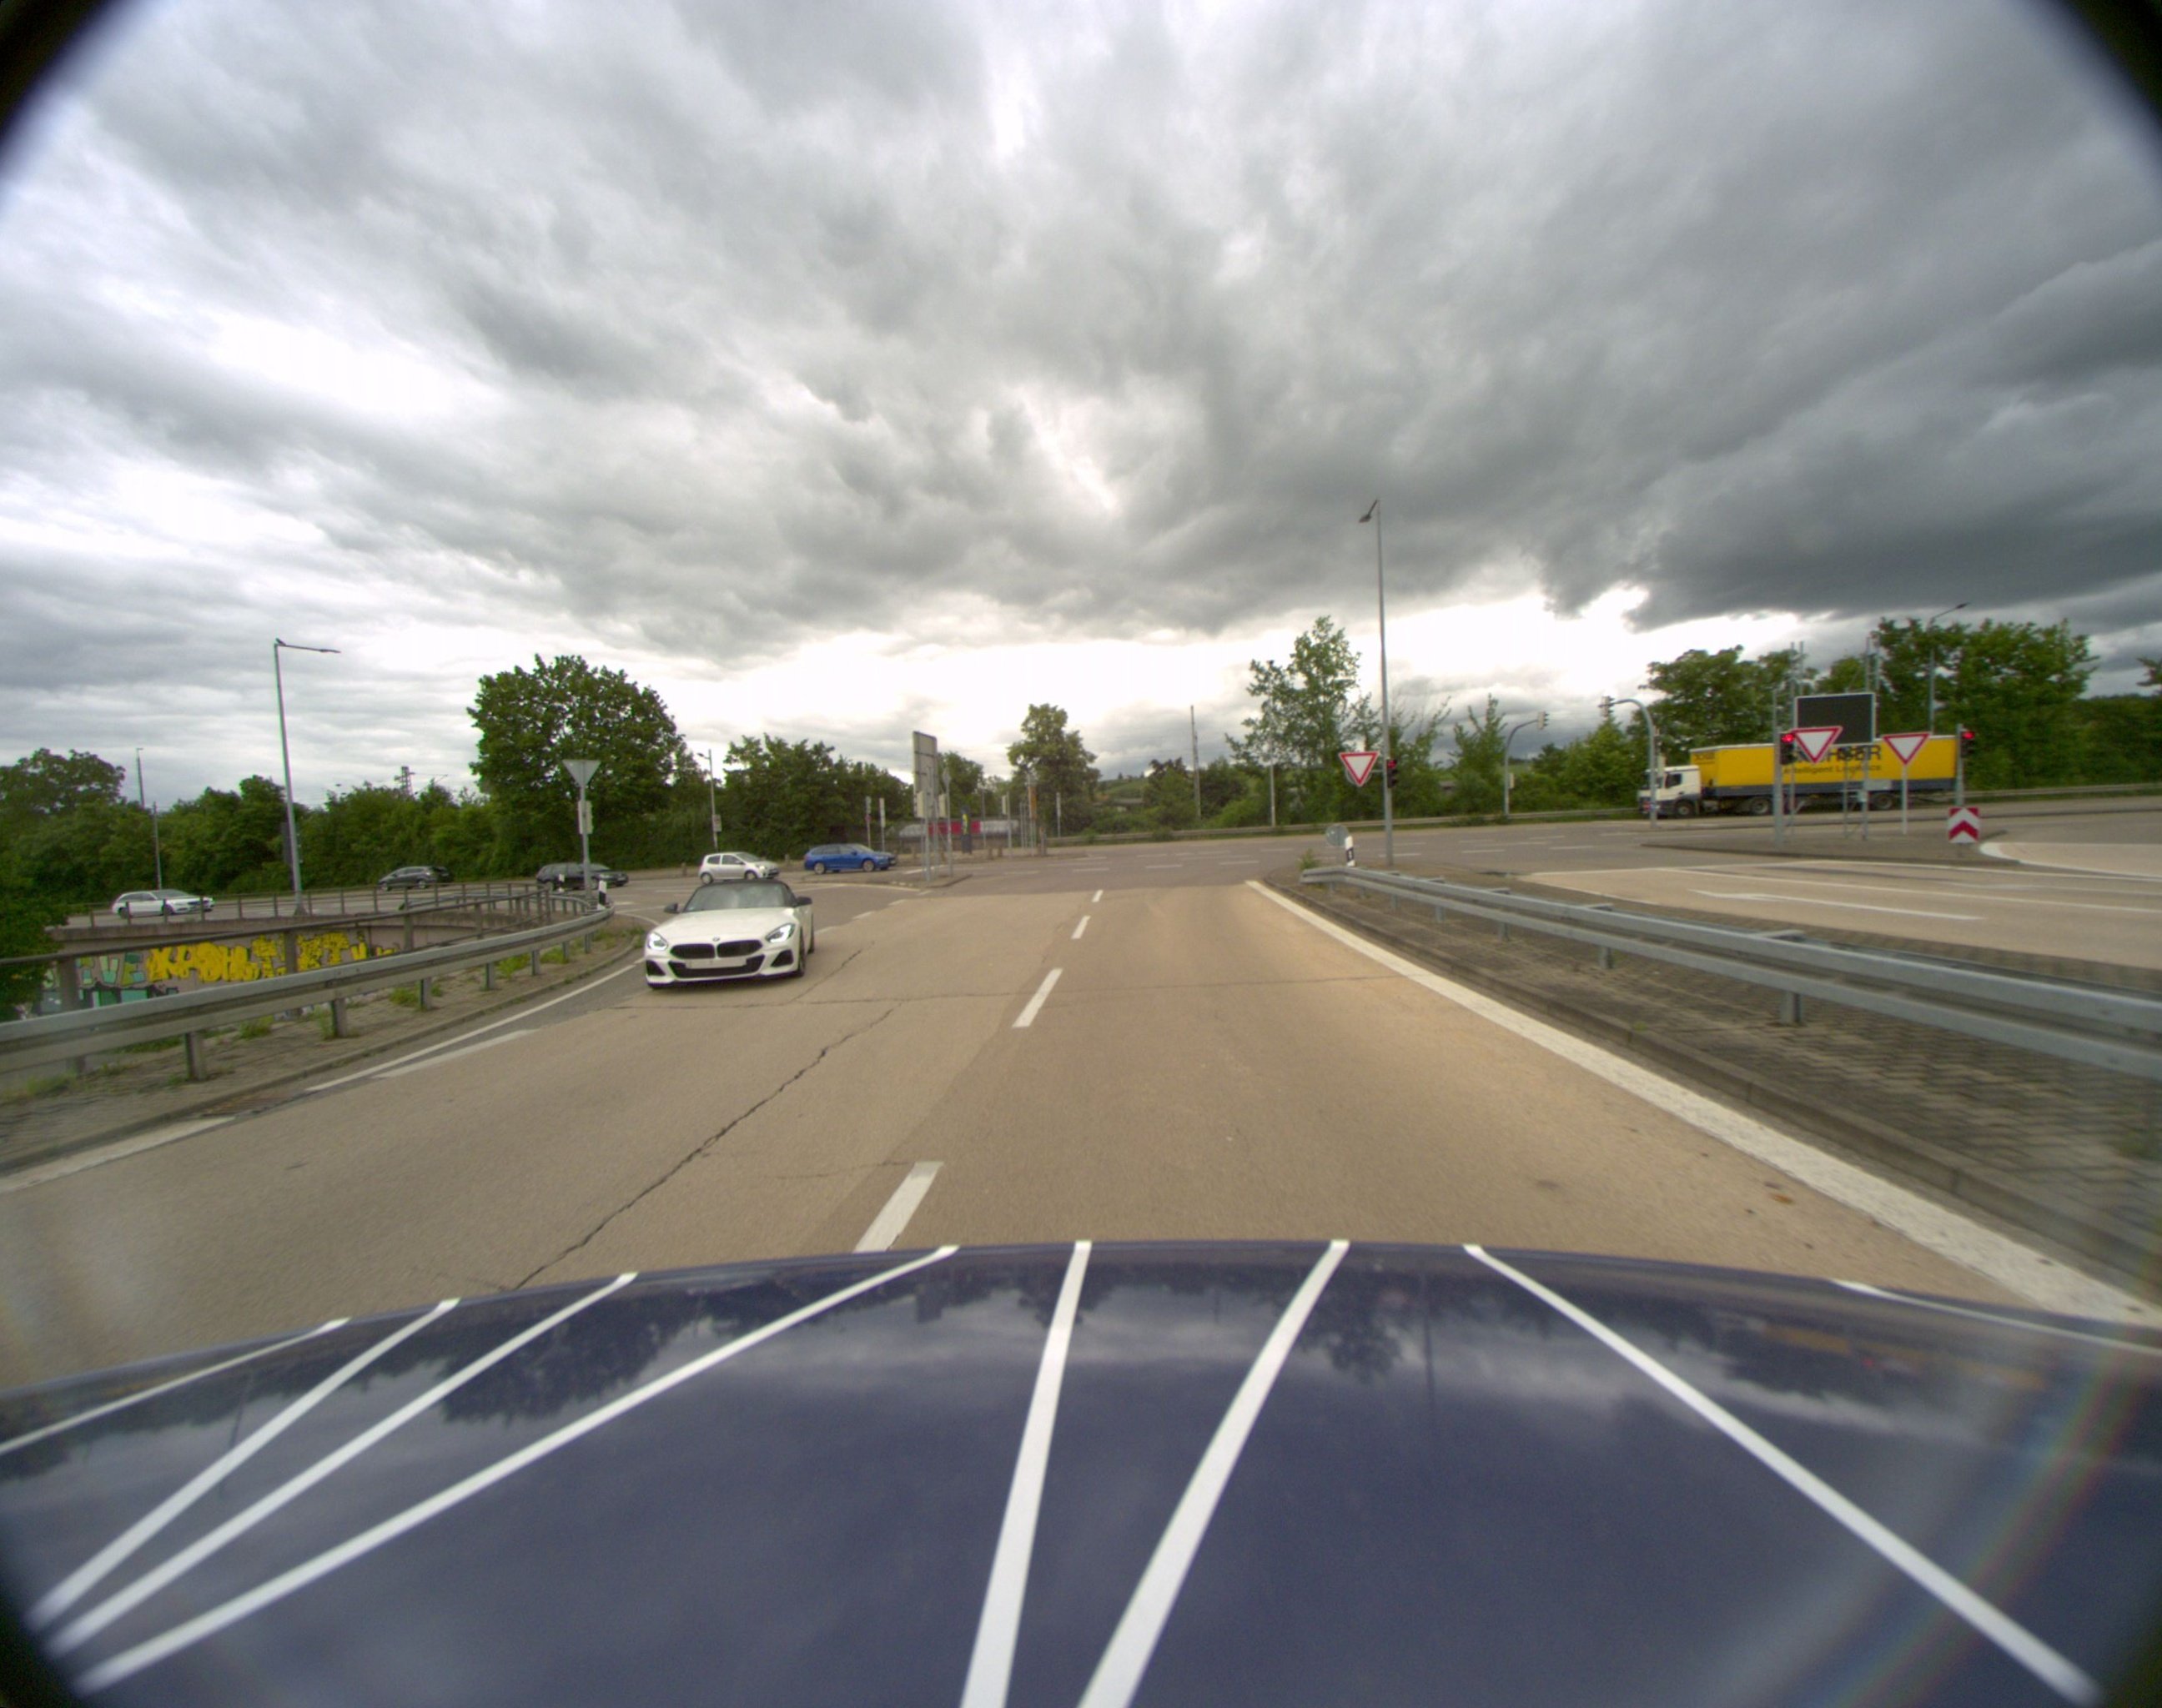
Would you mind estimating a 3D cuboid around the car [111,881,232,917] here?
[{"bbox_3d":[-50.935,2.528,42.609,4.710,1.552,1.877,-4,3,5],"label":"car"}]

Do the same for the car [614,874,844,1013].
[{"bbox_3d":[-4.869,1.103,11.344,1.864,1.337,4.820,-3,1,-10],"label":"car"}]

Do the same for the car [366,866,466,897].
[{"bbox_3d":[-47.659,1.959,54.529,5.486,1.746,2.134,-3,3,7],"label":"car"}]

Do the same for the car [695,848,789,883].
[{"bbox_3d":[-16.201,0.545,36.407,3.743,1.366,1.629,-3,3,10],"label":"car"}]

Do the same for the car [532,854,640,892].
[{"bbox_3d":[-25.179,0.936,38.694,4.289,1.548,1.948,-3,3,9],"label":"car"}]

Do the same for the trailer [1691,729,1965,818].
[{"bbox_3d":[42.293,-4.465,43.438,11.638,4.181,2.636,-2,3,11],"label":"trailer"}]

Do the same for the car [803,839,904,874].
[{"bbox_3d":[-11.492,0.106,38.458,4.535,1.446,1.610,-3,3,12],"label":"car"}]

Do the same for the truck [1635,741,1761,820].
[{"bbox_3d":[36.091,-4.224,44.623,5.094,4.181,2.636,-2,3,11],"label":"truck"}]
